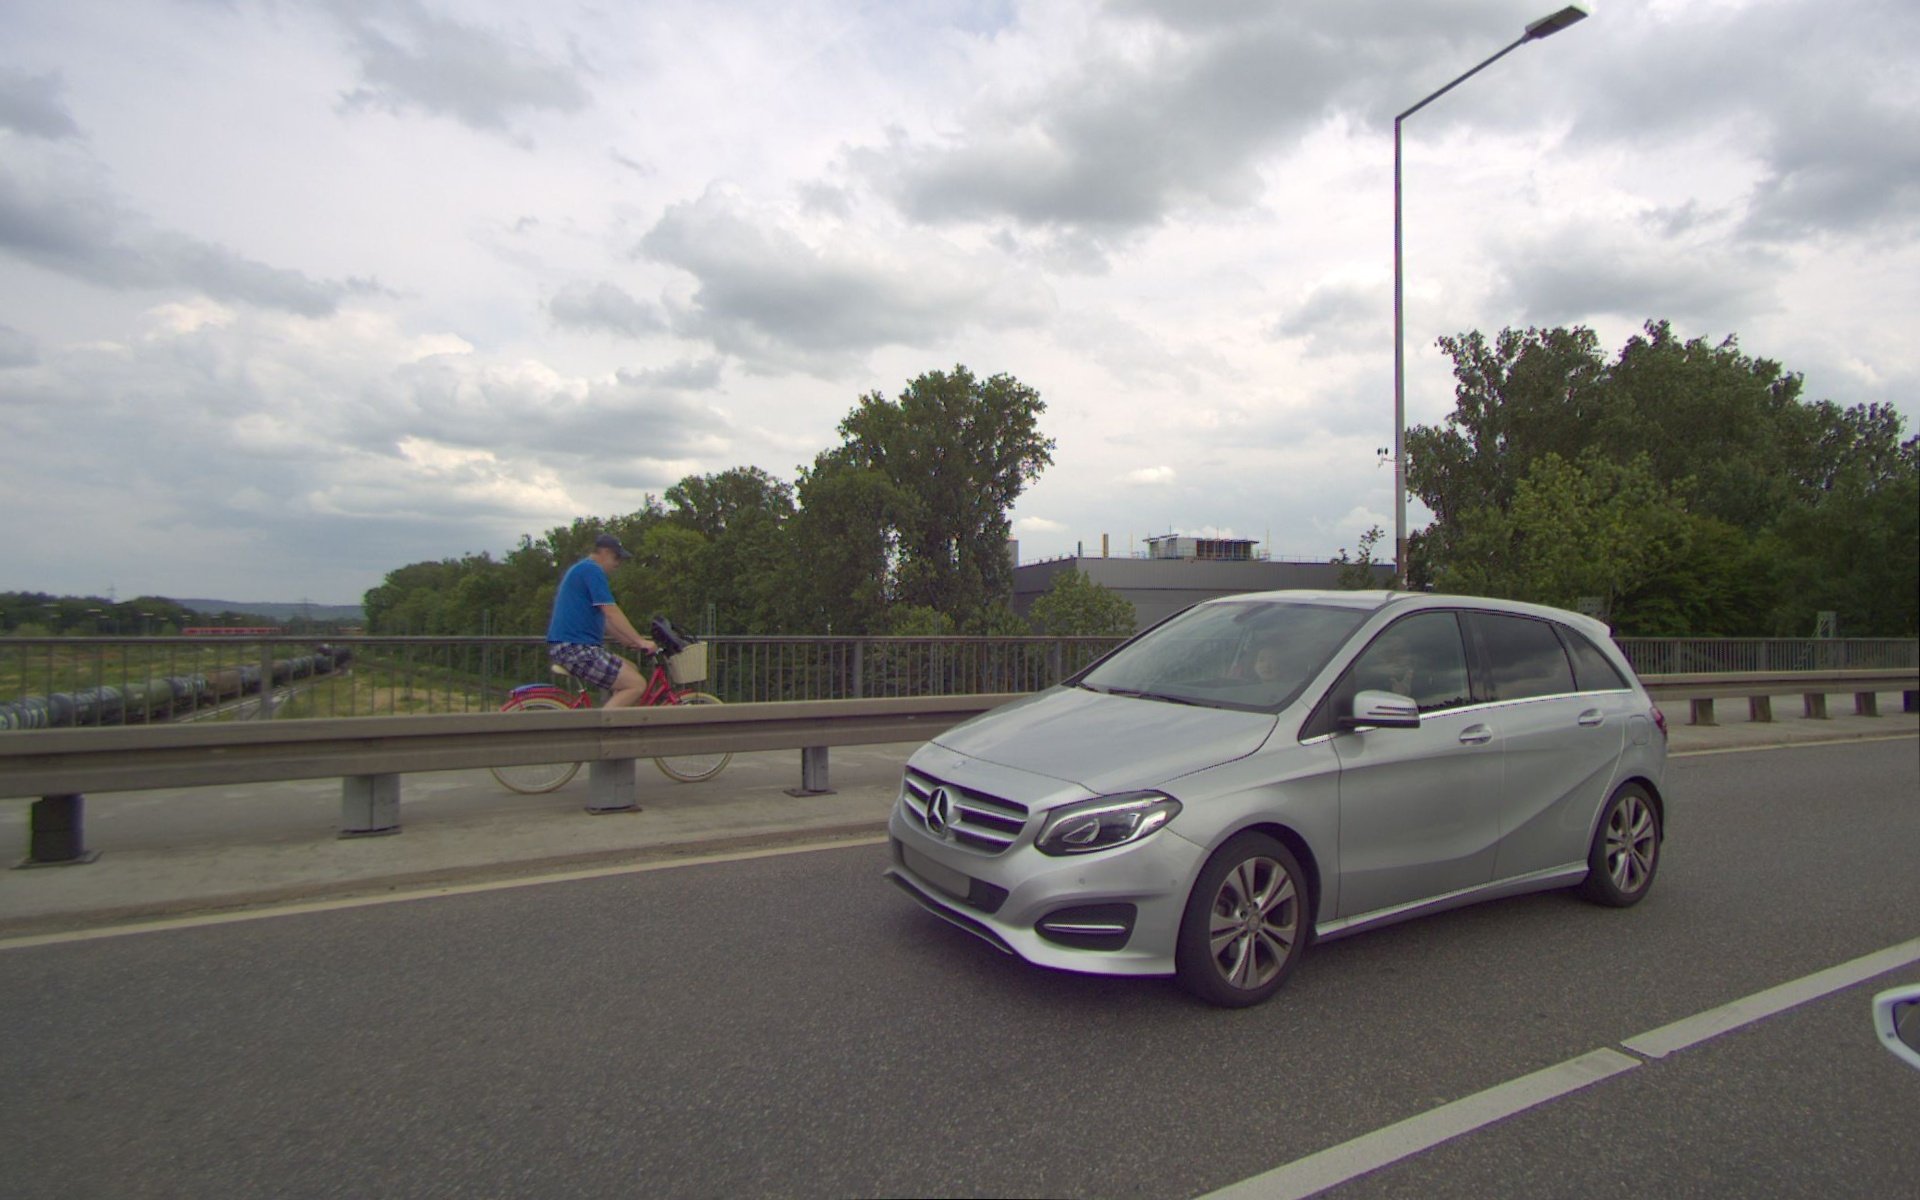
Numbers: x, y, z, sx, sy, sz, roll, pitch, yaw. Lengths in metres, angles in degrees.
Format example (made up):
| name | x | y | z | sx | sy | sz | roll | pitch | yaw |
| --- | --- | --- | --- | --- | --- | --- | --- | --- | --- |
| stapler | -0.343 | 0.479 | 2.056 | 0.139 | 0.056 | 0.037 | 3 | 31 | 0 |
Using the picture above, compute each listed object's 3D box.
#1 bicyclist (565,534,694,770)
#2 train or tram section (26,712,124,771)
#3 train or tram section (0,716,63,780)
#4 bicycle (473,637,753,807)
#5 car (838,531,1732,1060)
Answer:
| name | x | y | z | sx | sy | sz | roll | pitch | yaw |
| --- | --- | --- | --- | --- | --- | --- | --- | --- | --- |
| bicyclist | -2.346 | 0.350 | 7.111 | 0.748 | 1.560 | 0.607 | 1 | 0 | -29 |
| train or tram section | -74.016 | 11.690 | 84.362 | 2.053 | 4.147 | 12.698 | 1 | -5 | -23 |
| train or tram section | -69.078 | 10.724 | 72.698 | 2.053 | 4.147 | 12.698 | 1 | -5 | -23 |
| bicycle | -2.403 | 0.801 | 7.038 | 1.788 | 1.059 | 0.490 | 1 | 0 | -29 |
| car | 1.763 | 0.641 | 5.009 | 4.347 | 1.642 | 1.809 | 1 | 0 | -31 |
